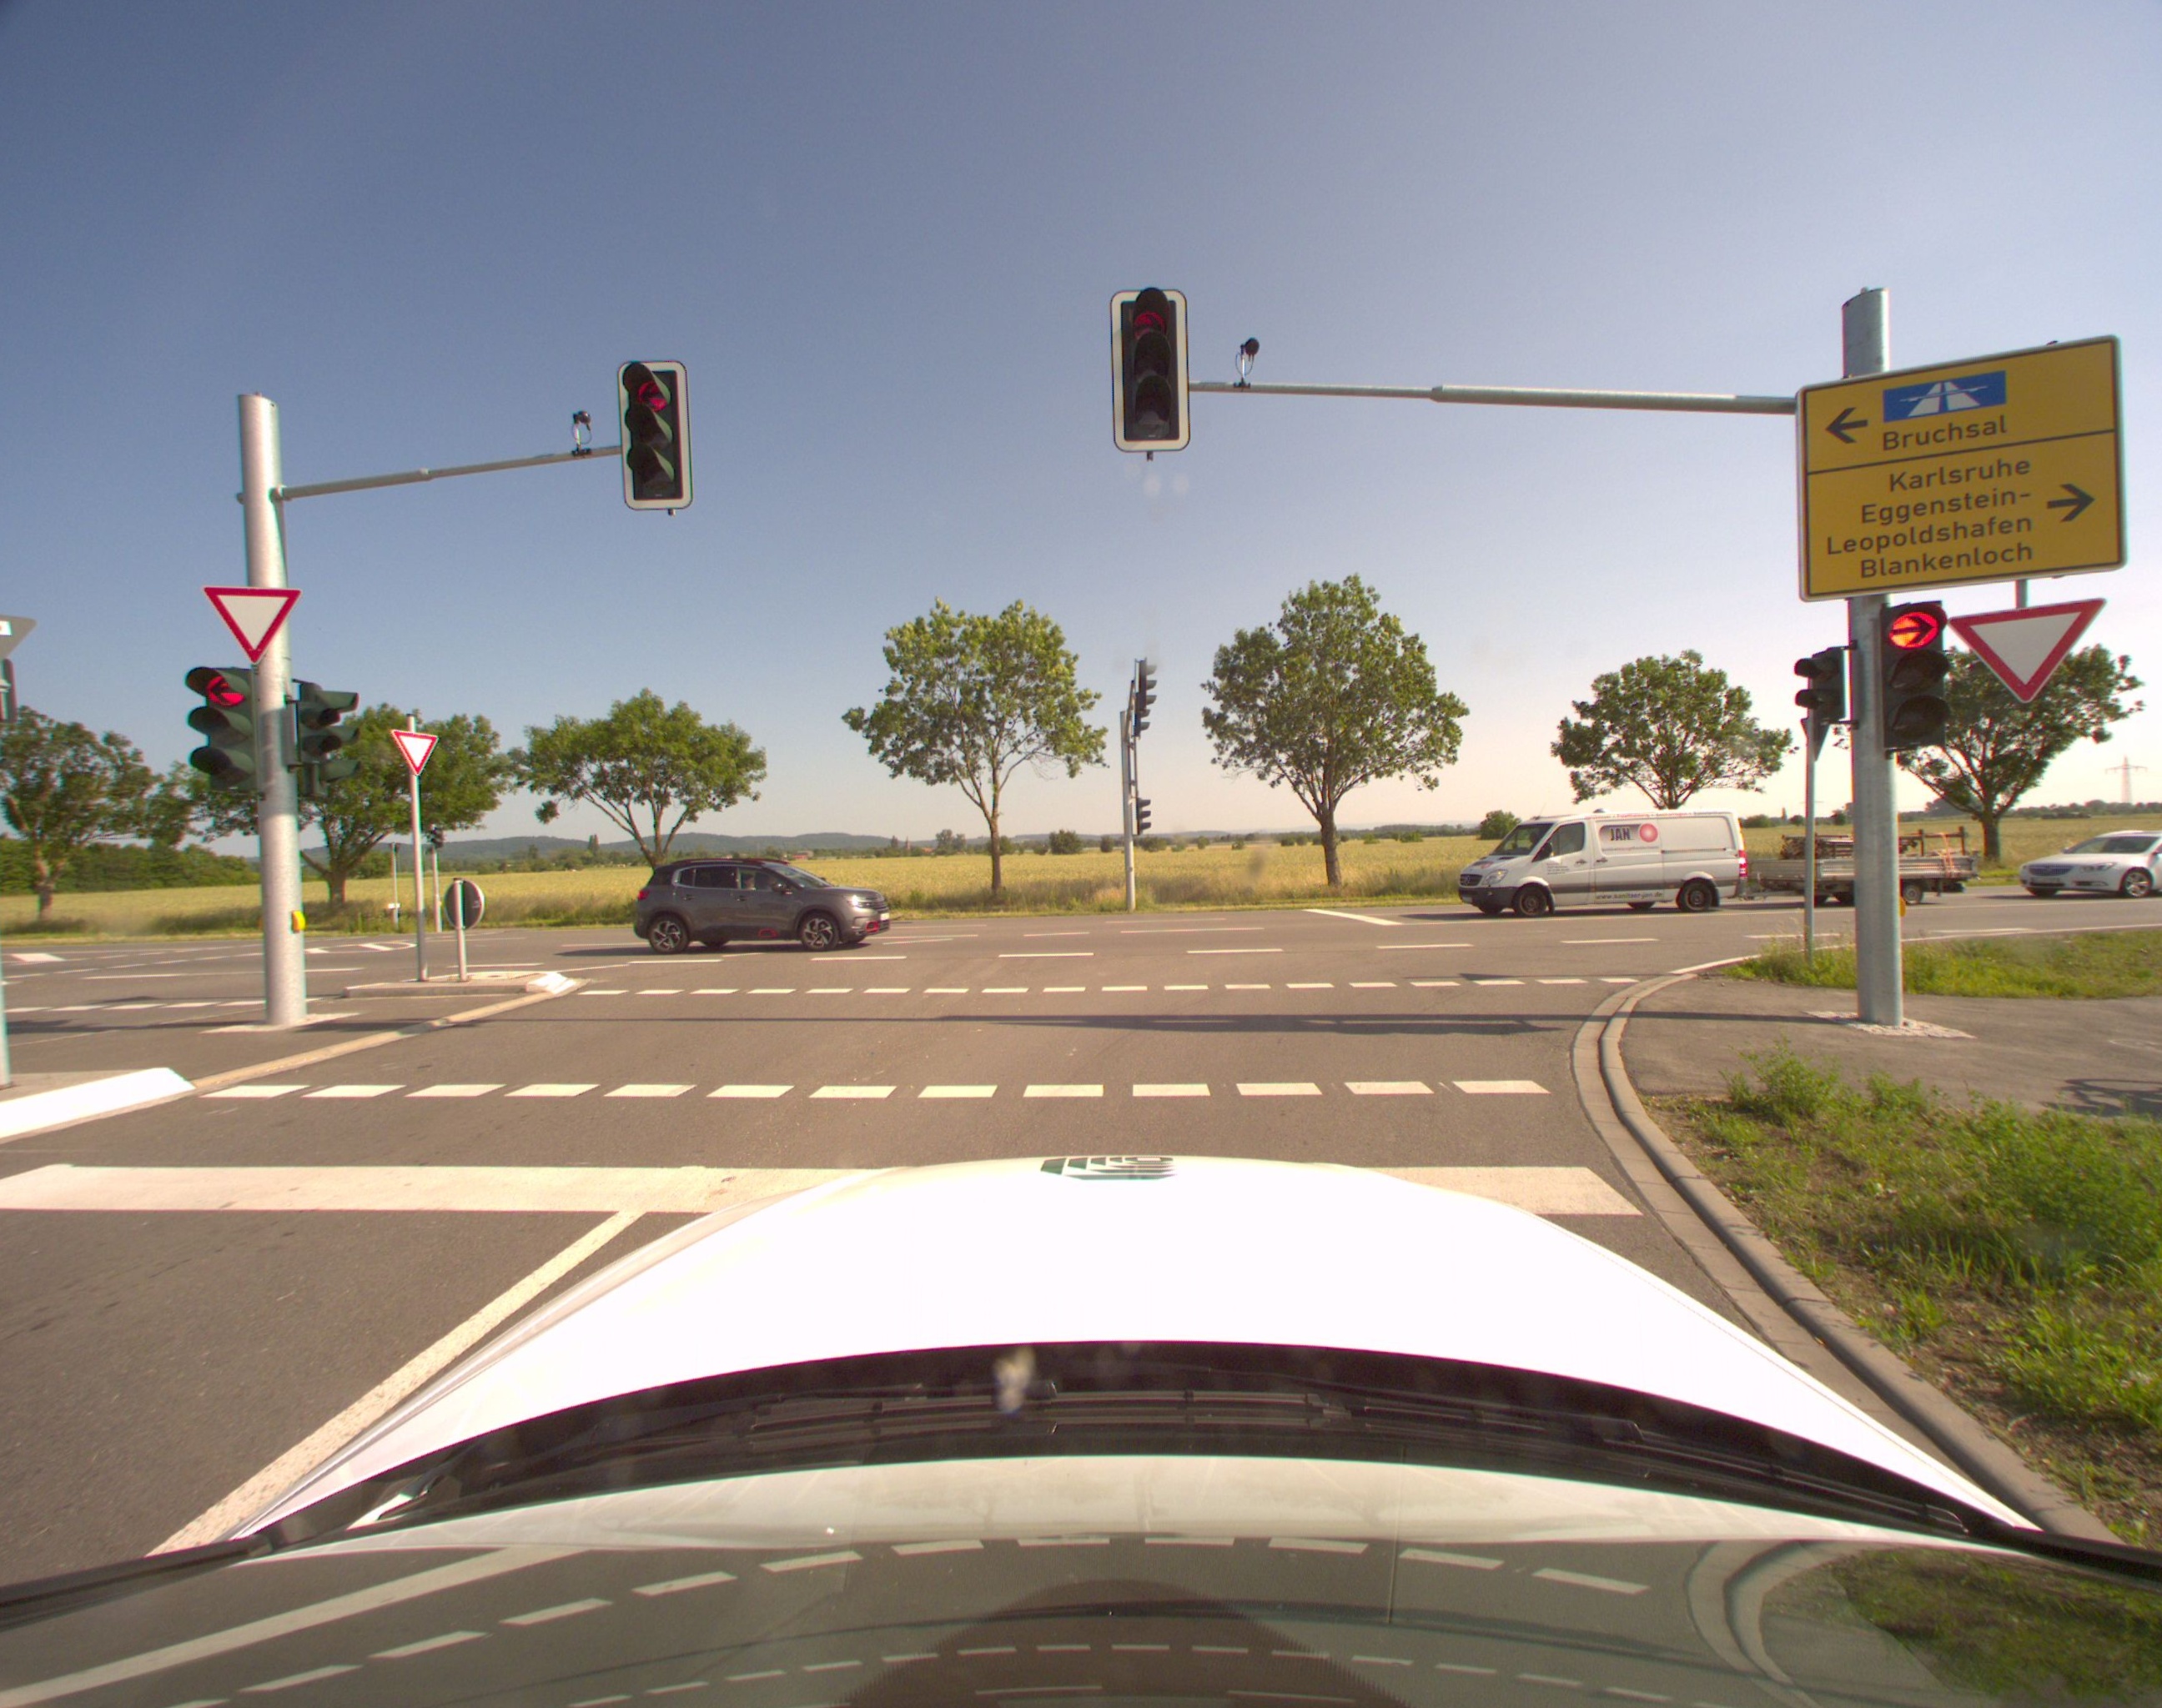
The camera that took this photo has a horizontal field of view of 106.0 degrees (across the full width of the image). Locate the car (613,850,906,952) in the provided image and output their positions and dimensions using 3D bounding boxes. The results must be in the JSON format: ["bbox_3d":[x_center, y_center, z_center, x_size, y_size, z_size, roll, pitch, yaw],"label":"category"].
[{"bbox_3d":[-5.773,0.832,15.055,4.586,1.723,2.001,0,-1,1],"label":"car"}]

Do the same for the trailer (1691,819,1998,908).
[{"bbox_3d":[17.402,0.214,18.740,5.245,1.753,1.953,-2,-1,-1],"label":"trailer"}]

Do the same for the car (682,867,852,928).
[{"bbox_3d":[-8.802,1.200,23.111,3.972,1.501,2.001,-1,1,1],"label":"car"}]

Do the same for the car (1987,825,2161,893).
[{"bbox_3d":[24.656,0.116,19.080,4.858,1.510,1.997,0,-1,-4],"label":"car"}]

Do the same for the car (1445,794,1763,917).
[{"bbox_3d":[11.732,0.038,18.579,5.939,2.493,1.999,-2,-1,-1],"label":"car"}]
